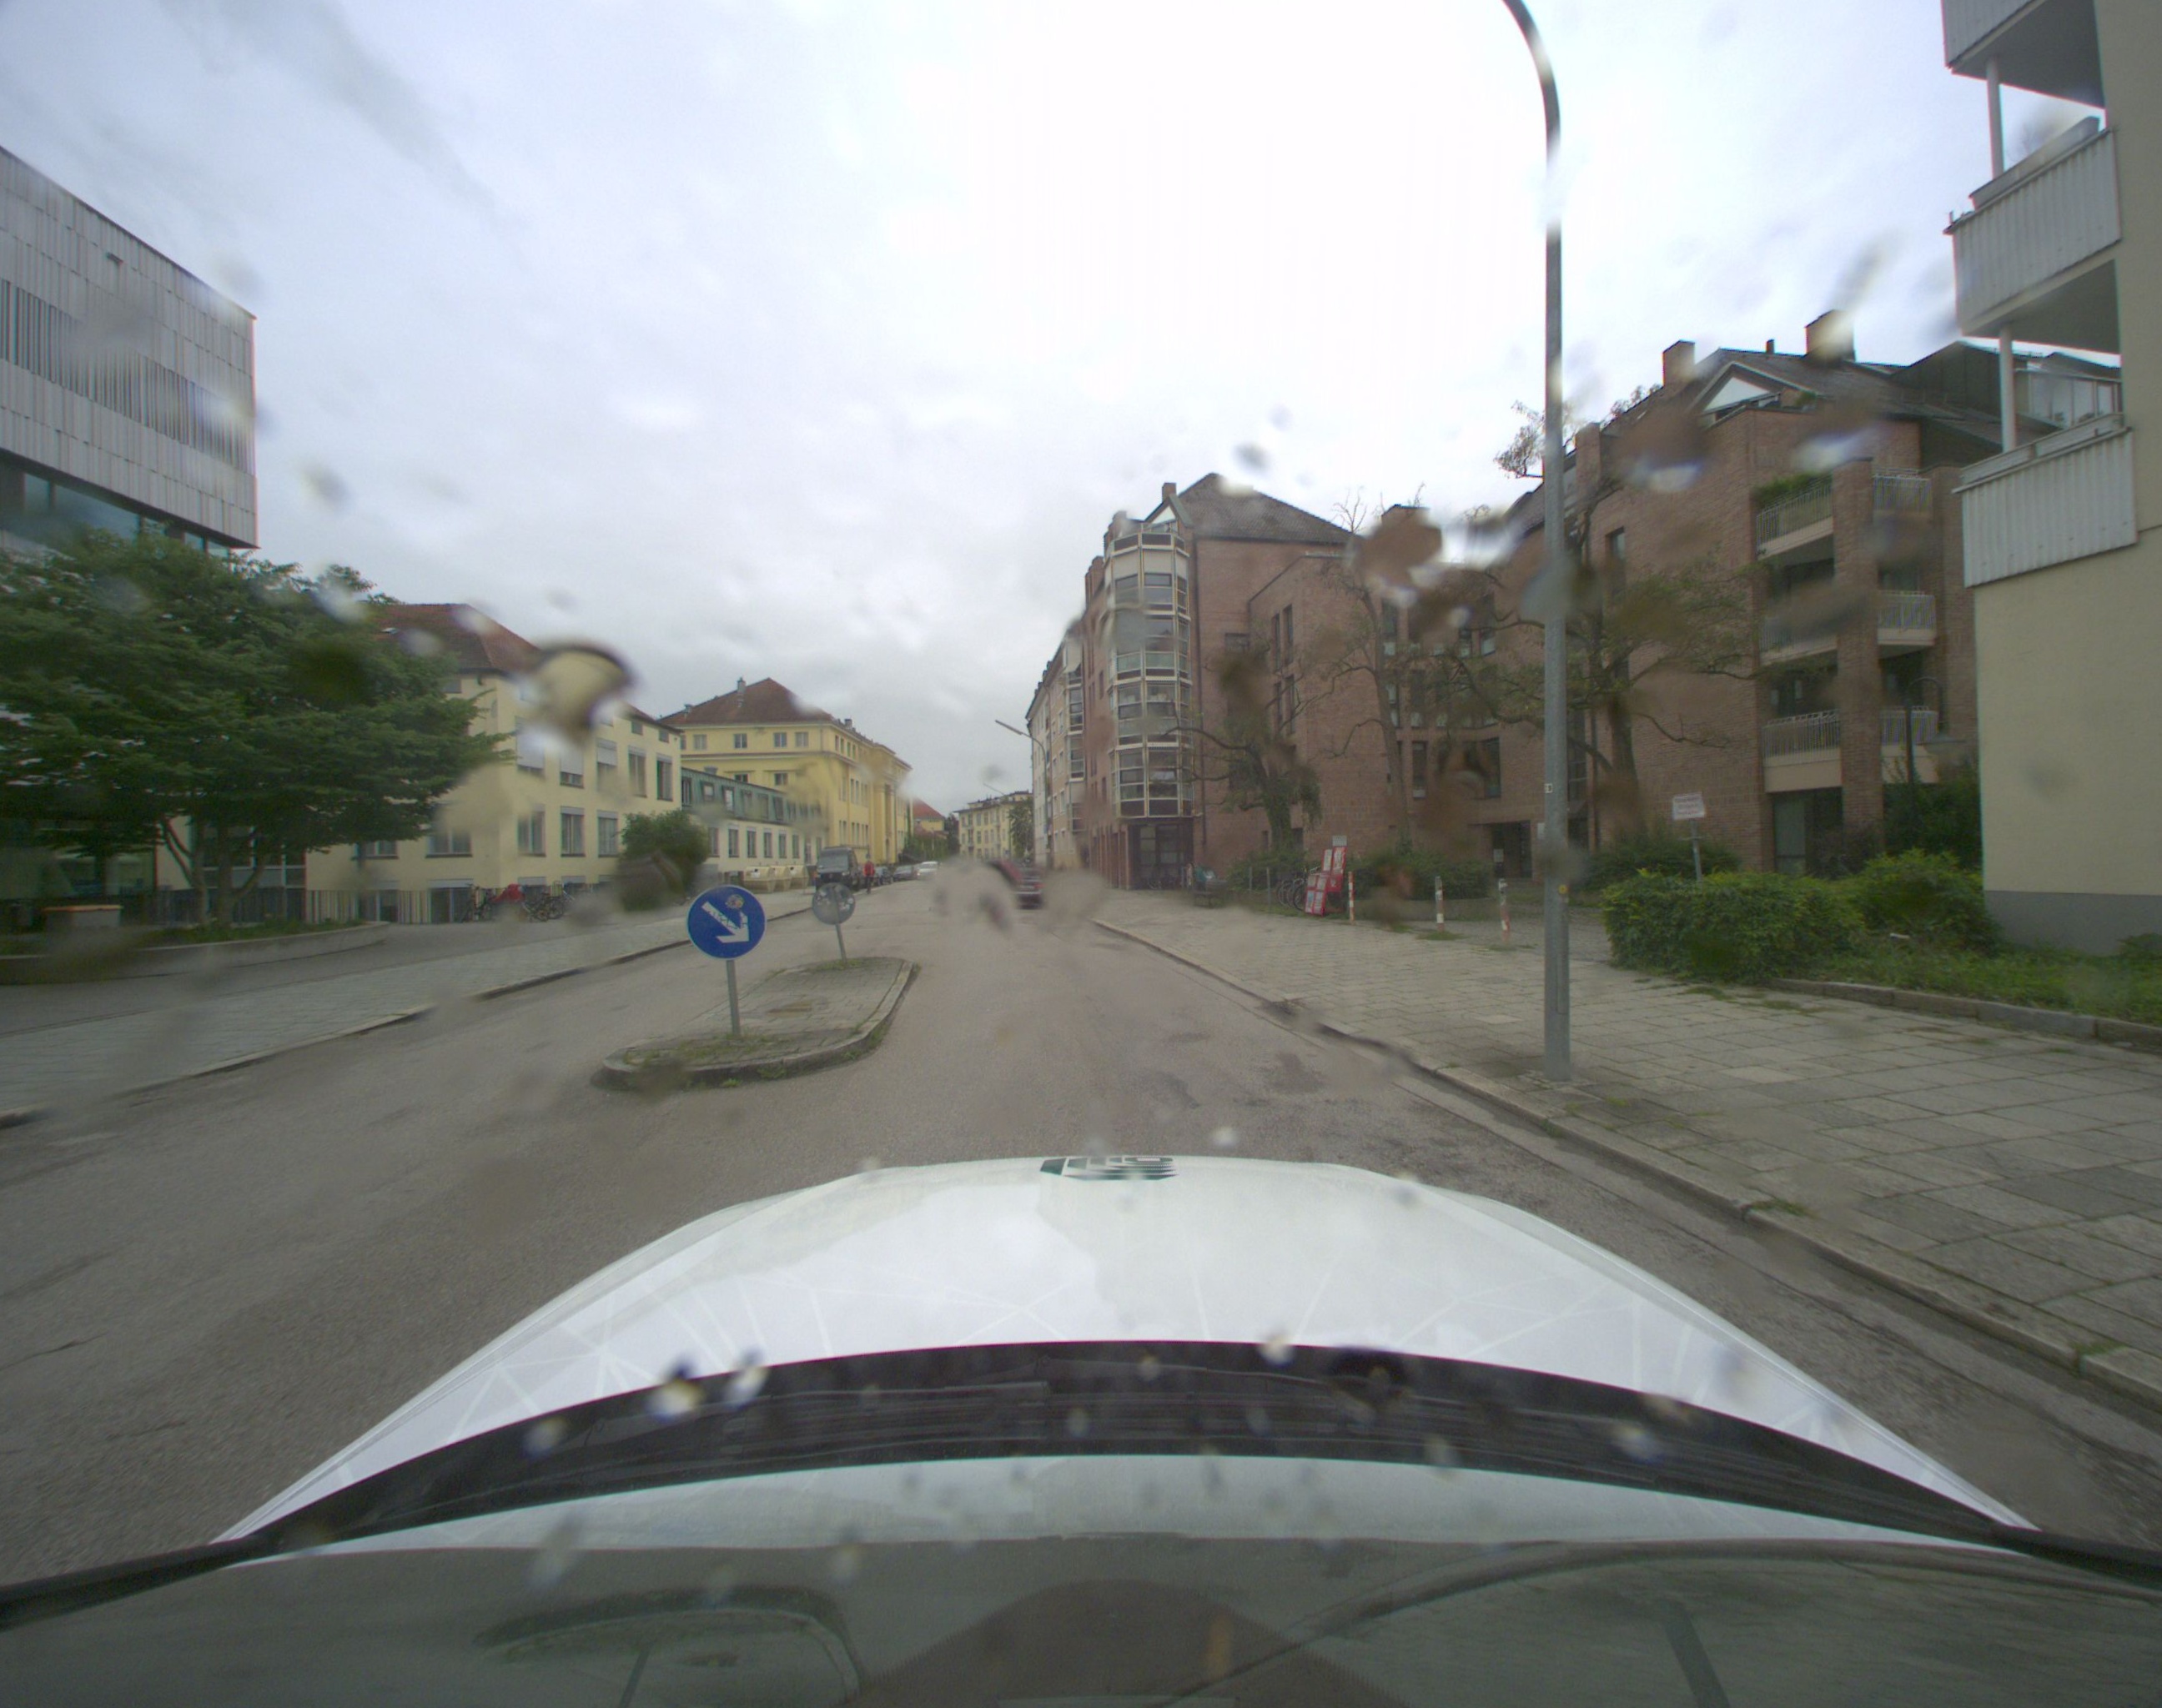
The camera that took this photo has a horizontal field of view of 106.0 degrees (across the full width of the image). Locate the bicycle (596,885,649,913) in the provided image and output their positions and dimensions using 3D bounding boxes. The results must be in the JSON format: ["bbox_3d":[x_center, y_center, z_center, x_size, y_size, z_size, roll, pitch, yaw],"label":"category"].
[{"bbox_3d":[-17.765,1.747,31.591,1.783,1.033,0.508,0,0,2],"label":"bicycle"}]

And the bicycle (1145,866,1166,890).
[{"bbox_3d":[3.371,1.064,37.023,0.486,1.060,1.989,0,-1,-10],"label":"bicycle"}]

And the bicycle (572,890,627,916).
[{"bbox_3d":[-17.719,1.792,29.962,1.668,0.916,0.595,0,0,2],"label":"bicycle"}]

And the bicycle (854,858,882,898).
[{"bbox_3d":[-11.702,1.290,44.917,0.746,2.013,2.846,-4,0,-2],"label":"bicycle"}]

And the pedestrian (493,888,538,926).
[{"bbox_3d":[-18.252,1.697,26.305,0.716,1.163,1.039,0,0,-3],"label":"pedestrian"}]

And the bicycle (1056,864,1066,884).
[{"bbox_3d":[-1.377,1.360,55.827,0.468,1.288,2.668,0,0,-6],"label":"bicycle"}]

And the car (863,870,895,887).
[{"bbox_3d":[-15.903,1.939,64.195,1.523,1.202,3.741,0,0,0],"label":"car"}]

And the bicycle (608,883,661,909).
[{"bbox_3d":[-18.049,1.693,32.952,1.859,1.029,0.540,0,0,2],"label":"bicycle"}]

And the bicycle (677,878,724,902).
[{"bbox_3d":[-18.060,1.726,38.680,1.897,1.092,0.678,0,0,2],"label":"bicycle"}]

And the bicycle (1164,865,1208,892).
[{"bbox_3d":[4.574,1.045,35.439,1.843,1.147,0.487,0,0,-2],"label":"bicycle"}]

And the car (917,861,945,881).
[{"bbox_3d":[-13.317,1.524,72.636,2.024,1.621,4.494,-3,-2,-7],"label":"car"}]

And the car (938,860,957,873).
[{"bbox_3d":[-16.927,1.570,103.394,1.990,1.548,3.993,0,0,-5],"label":"car"}]

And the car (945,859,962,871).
[{"bbox_3d":[-17.664,1.495,112.793,1.990,1.548,3.993,0,0,-5],"label":"car"}]

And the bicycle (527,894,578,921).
[{"bbox_3d":[-17.273,1.742,26.643,1.368,0.862,0.439,0,0,-2],"label":"bicycle"}]

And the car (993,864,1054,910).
[{"bbox_3d":[-2.142,1.115,29.317,1.923,1.512,4.380,0,-1,-8],"label":"car"}]

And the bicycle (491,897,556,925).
[{"bbox_3d":[-17.522,1.789,25.596,1.714,0.862,0.439,0,0,-2],"label":"bicycle"}]

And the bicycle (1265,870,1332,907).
[{"bbox_3d":[5.893,0.929,22.109,1.699,0.965,0.545,0,0,-8],"label":"bicycle"}]

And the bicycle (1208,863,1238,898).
[{"bbox_3d":[4.862,0.893,27.815,0.416,1.173,1.370,0,0,37],"label":"bicycle"}]

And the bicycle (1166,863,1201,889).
[{"bbox_3d":[4.503,0.972,35.891,1.473,1.147,0.383,0,0,-2],"label":"bicycle"}]

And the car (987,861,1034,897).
[{"bbox_3d":[-3.509,1.163,39.810,1.831,1.602,4.250,0,0,-11],"label":"car"}]

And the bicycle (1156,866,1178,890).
[{"bbox_3d":[3.893,1.071,37.118,0.486,1.060,1.989,0,0,-10],"label":"bicycle"}]

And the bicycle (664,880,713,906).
[{"bbox_3d":[-17.844,1.763,37.036,1.949,1.131,0.573,0,0,2],"label":"bicycle"}]

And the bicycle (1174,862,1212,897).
[{"bbox_3d":[4.102,0.934,29.979,0.534,1.248,2.402,0,-2,-13],"label":"bicycle"}]

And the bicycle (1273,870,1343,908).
[{"bbox_3d":[5.977,0.918,21.443,1.699,0.965,0.545,0,0,-8],"label":"bicycle"}]

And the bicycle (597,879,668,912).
[{"bbox_3d":[-17.794,1.657,32.321,2.543,1.206,0.425,-2,0,2],"label":"bicycle"}]

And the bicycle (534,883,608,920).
[{"bbox_3d":[-17.779,1.645,28.410,2.096,1.227,0.787,0,0,2],"label":"bicycle"}]

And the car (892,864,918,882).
[{"bbox_3d":[-16.083,1.732,74.532,1.769,1.550,3.772,0,0,-5],"label":"car"}]

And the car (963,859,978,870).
[{"bbox_3d":[-17.147,1.603,126.384,1.990,1.548,3.993,0,0,-5],"label":"car"}]

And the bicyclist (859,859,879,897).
[{"bbox_3d":[-11.723,1.305,45.042,0.764,2.013,0.767,-5,0,-3],"label":"bicyclist"}]

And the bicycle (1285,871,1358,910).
[{"bbox_3d":[6.106,0.915,20.681,1.699,0.965,0.545,0,0,-8],"label":"bicycle"}]

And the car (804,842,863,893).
[{"bbox_3d":[-14.521,0.816,48.179,2.421,2.715,5.933,-3,-1,-9],"label":"car"}]

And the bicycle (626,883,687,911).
[{"bbox_3d":[-17.921,1.801,34.379,2.301,1.135,0.582,0,0,2],"label":"bicycle"}]

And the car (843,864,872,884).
[{"bbox_3d":[-20.646,1.827,75.247,1.715,1.660,3.746,0,0,-2],"label":"car"}]

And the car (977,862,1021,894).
[{"bbox_3d":[-4.554,1.273,44.702,1.965,1.602,4.653,0,0,-11],"label":"car"}]
